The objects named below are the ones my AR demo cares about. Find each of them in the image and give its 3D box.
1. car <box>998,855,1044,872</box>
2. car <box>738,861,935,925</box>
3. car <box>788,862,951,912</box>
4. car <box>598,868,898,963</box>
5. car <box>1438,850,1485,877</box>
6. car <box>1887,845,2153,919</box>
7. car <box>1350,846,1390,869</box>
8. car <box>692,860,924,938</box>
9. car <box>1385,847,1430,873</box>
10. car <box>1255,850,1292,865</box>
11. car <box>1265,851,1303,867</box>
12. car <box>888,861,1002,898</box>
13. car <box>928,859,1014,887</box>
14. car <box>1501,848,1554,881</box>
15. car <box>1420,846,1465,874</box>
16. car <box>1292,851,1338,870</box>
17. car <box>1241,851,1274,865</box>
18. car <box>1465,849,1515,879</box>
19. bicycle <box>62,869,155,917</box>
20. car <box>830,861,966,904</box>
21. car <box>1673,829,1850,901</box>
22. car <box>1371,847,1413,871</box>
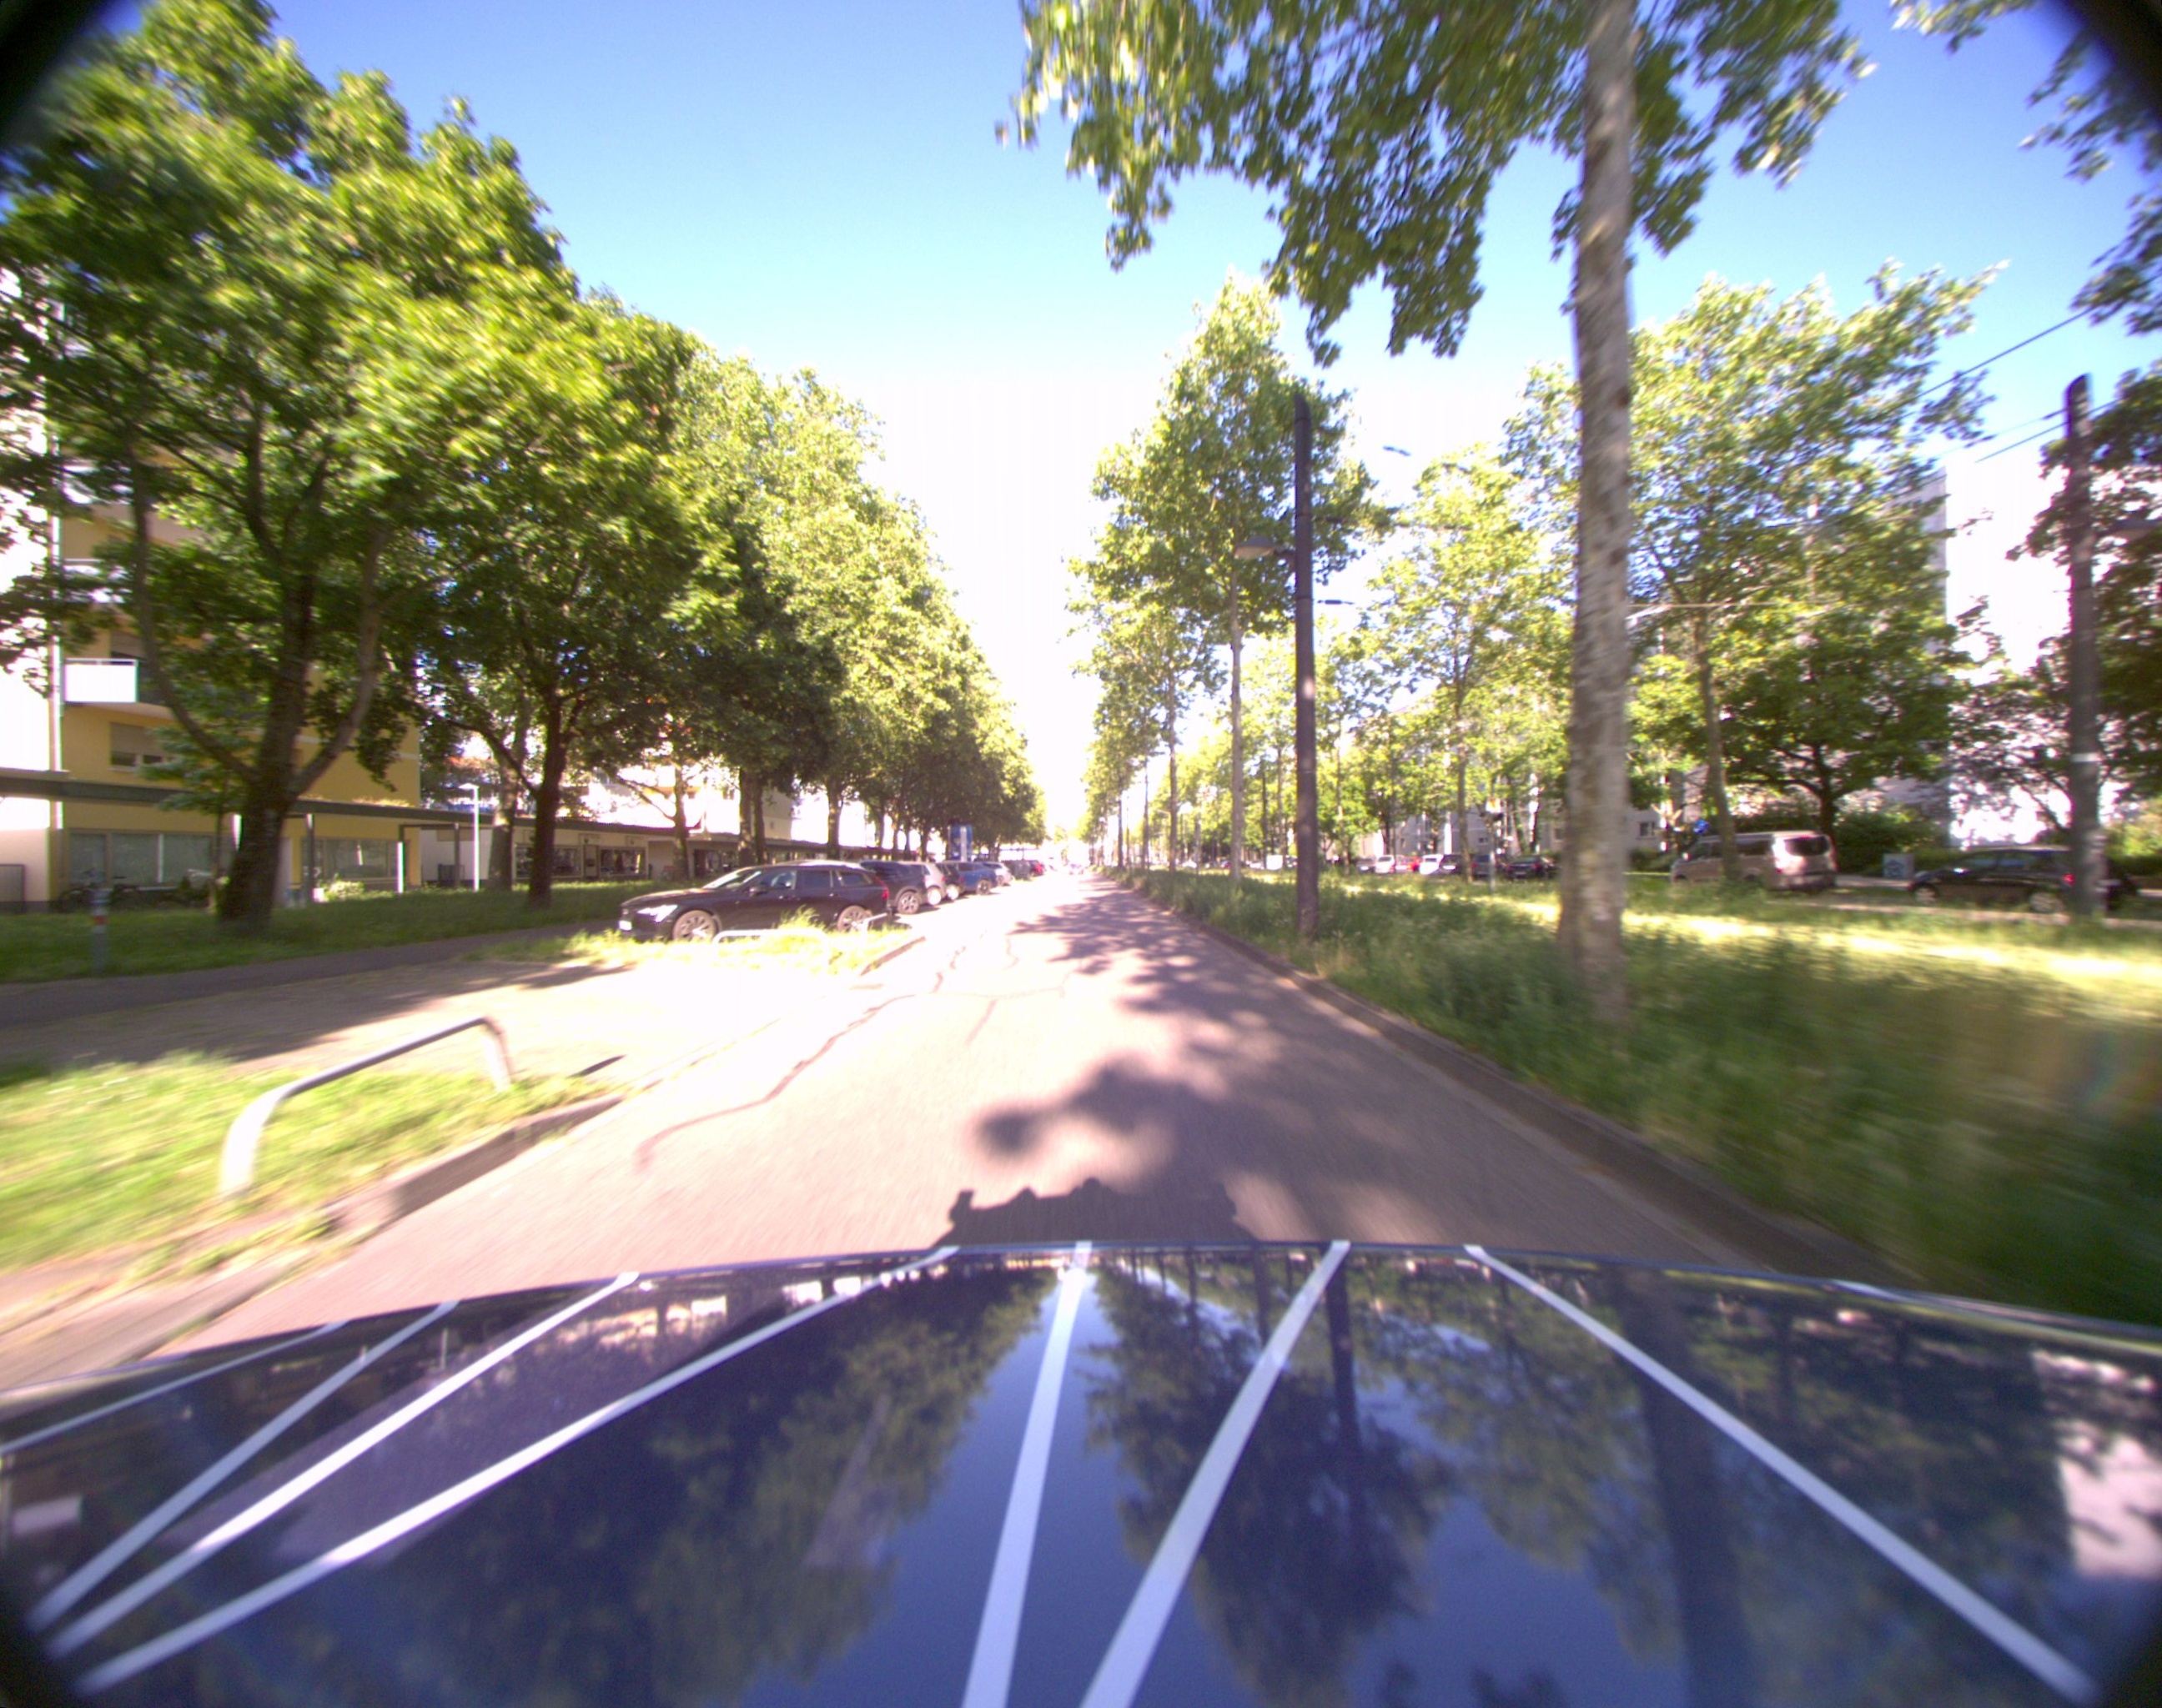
[{"bbox_3d":[-6.048,0.997,77.037,1.894,1.663,4.510,1,0,45],"label":"car"},{"bbox_3d":[-6.543,0.968,20.708,1.994,1.512,4.687,1,0,45],"label":"car"},{"bbox_3d":[-6.710,0.990,24.503,1.994,1.440,4.687,1,0,45],"label":"car"},{"bbox_3d":[-6.005,0.994,14.121,1.994,1.417,4.687,1,0,45],"label":"car"},{"bbox_3d":[24.063,0.581,48.021,1.884,1.558,4.007,-2,1,37],"label":"car"},{"bbox_3d":[22.578,0.584,18.541,1.754,1.487,3.817,-4,1,1],"label":"car"},{"bbox_3d":[23.913,0.304,62.758,1.895,1.699,4.508,-2,1,37],"label":"car"},{"bbox_3d":[-6.248,0.939,17.788,1.994,1.556,4.687,1,0,45],"label":"car"},{"bbox_3d":[23.707,0.421,55.028,1.895,1.699,4.508,-2,1,37],"label":"car"},{"bbox_3d":[24.221,0.479,95.419,4.506,1.699,1.837,-3,1,-30],"label":"car"},{"bbox_3d":[23.658,0.578,88.512,4.006,1.699,1.837,-3,1,-30],"label":"car"},{"bbox_3d":[-5.699,1.025,32.282,1.894,1.440,4.510,1,0,45],"label":"car"},{"bbox_3d":[-6.130,1.032,42.571,1.894,1.440,4.510,1,0,45],"label":"car"},{"bbox_3d":[23.618,0.549,40.128,1.884,1.558,4.007,-2,1,37],"label":"car"},{"bbox_3d":[25.019,0.406,52.534,1.895,1.699,4.508,-2,1,37],"label":"car"},{"bbox_3d":[24.043,0.679,78.145,4.506,1.699,1.895,-3,1,-30],"label":"car"},{"bbox_3d":[22.865,0.499,98.307,4.006,1.699,1.837,-3,1,-30],"label":"car"},{"bbox_3d":[23.966,0.551,44.458,1.884,1.558,4.007,-2,1,37],"label":"car"},{"bbox_3d":[-28.128,1.104,22.020,0.506,1.299,1.660,-2,1,-1],"label":"bicycle"},{"bbox_3d":[-6.617,0.986,27.844,1.894,1.440,4.510,1,0,45],"label":"car"},{"bbox_3d":[22.471,0.304,25.366,1.986,2.045,4.278,-5,1,0],"label":"car"},{"bbox_3d":[24.369,0.368,59.440,1.895,1.699,4.508,-2,1,37],"label":"car"}]
